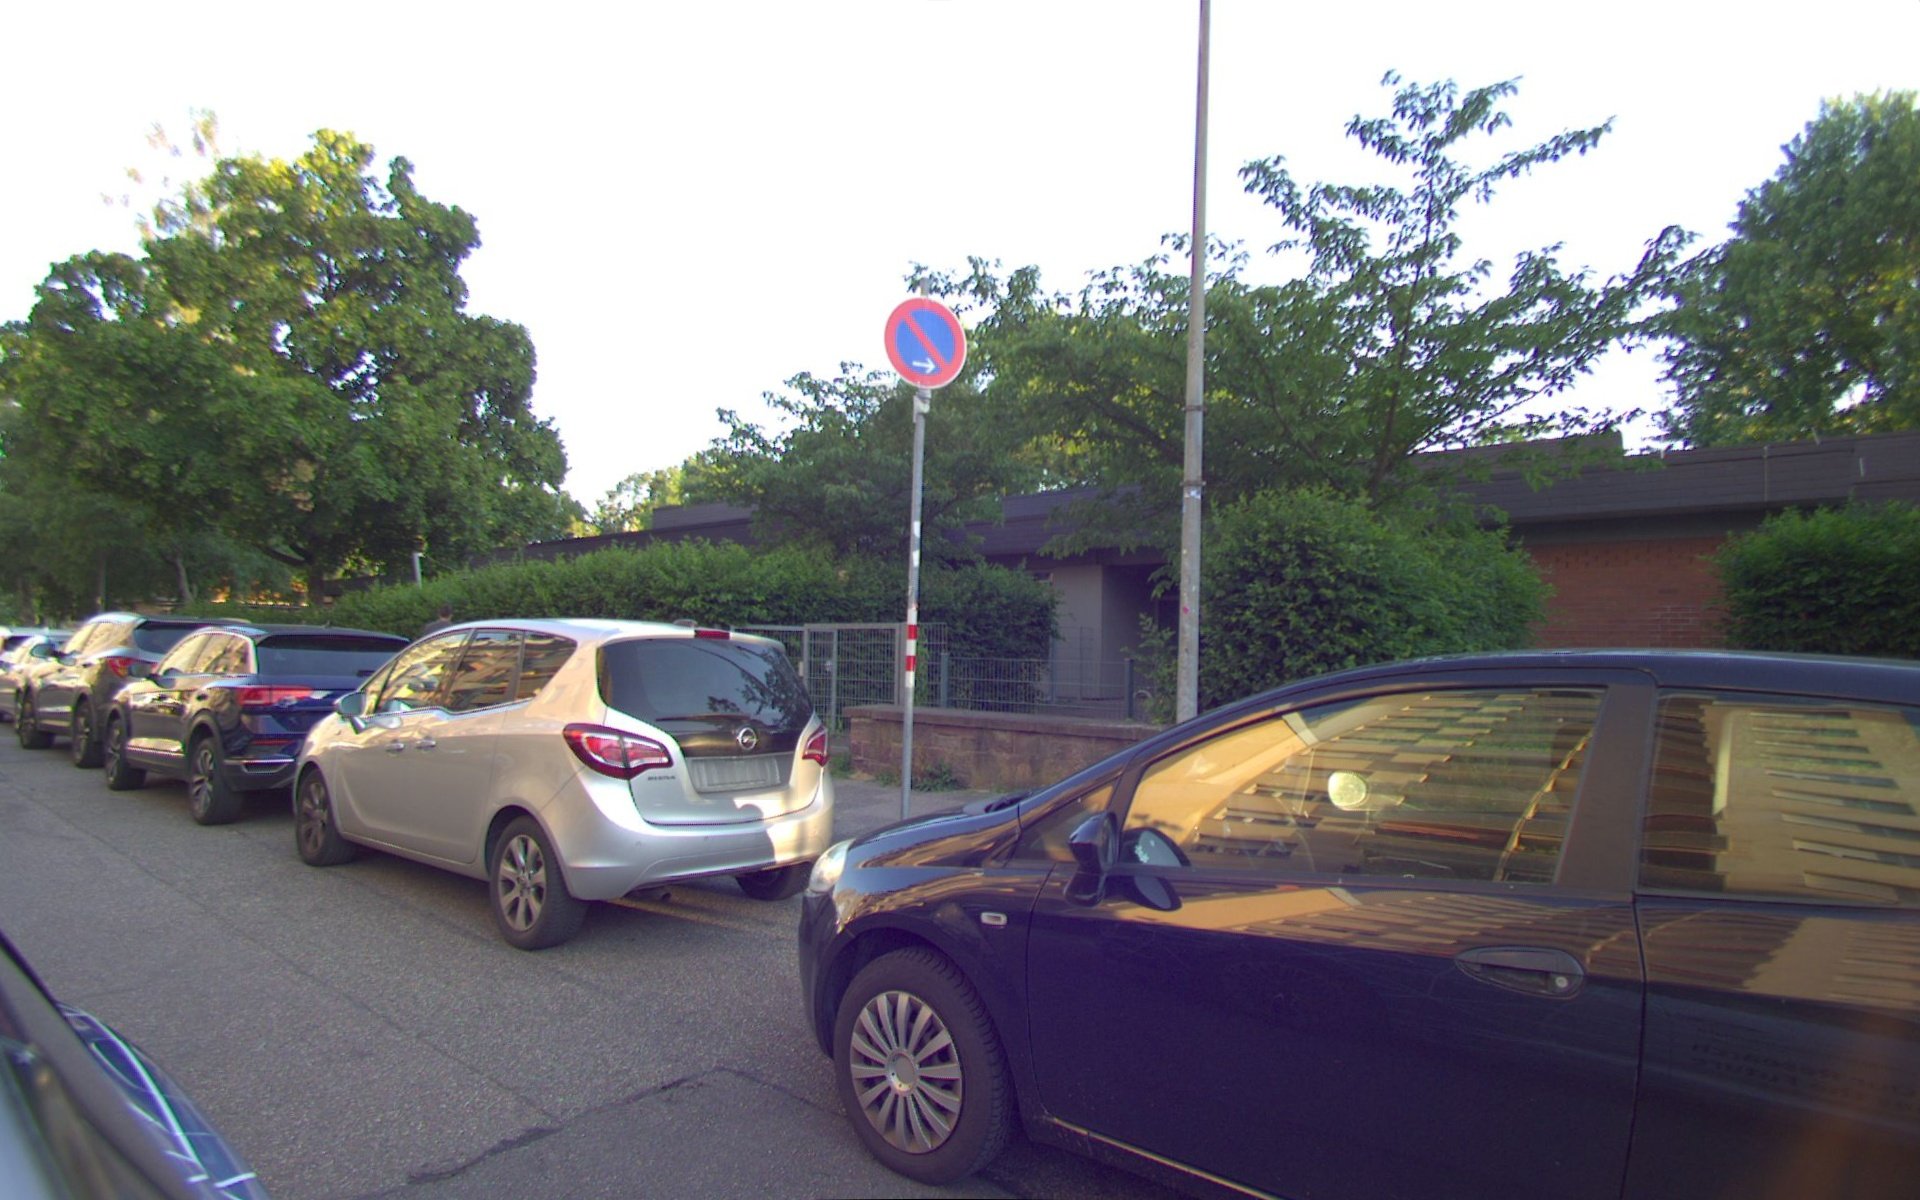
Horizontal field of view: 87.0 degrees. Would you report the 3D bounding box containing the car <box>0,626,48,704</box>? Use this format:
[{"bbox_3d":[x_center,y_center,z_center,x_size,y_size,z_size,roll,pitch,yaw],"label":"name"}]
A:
[{"bbox_3d":[-21.908,1.425,22.613,3.978,1.644,1.715,-2,-5,41],"label":"car"}]

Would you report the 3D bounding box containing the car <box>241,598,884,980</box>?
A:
[{"bbox_3d":[-2.588,0.886,6.170,4.123,1.579,1.717,-2,-5,37],"label":"car"}]

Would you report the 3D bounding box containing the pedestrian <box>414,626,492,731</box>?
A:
[{"bbox_3d":[-7.768,1.171,15.496,0.900,1.519,0.741,-2,-1,38],"label":"pedestrian"}]

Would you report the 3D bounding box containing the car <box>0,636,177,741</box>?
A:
[{"bbox_3d":[-14.137,1.328,15.967,4.280,1.438,1.717,-2,-5,37],"label":"car"}]

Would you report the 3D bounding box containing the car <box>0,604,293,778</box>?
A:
[{"bbox_3d":[-9.924,1.021,12.216,4.316,1.743,1.717,-2,-5,37],"label":"car"}]

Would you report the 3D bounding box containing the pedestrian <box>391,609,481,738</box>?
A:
[{"bbox_3d":[-7.440,1.014,14.381,0.749,1.745,0.890,-2,-1,38],"label":"pedestrian"}]

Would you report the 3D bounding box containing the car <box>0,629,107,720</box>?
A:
[{"bbox_3d":[-17.875,1.363,19.118,4.273,1.555,1.742,-2,-5,37],"label":"car"}]

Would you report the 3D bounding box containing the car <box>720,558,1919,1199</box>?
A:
[{"bbox_3d":[1.282,0.802,2.603,3.691,1.579,1.717,-2,-5,37],"label":"car"}]

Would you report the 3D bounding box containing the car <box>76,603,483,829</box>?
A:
[{"bbox_3d":[-6.201,0.917,9.063,4.160,1.579,1.717,-2,-5,37],"label":"car"}]
